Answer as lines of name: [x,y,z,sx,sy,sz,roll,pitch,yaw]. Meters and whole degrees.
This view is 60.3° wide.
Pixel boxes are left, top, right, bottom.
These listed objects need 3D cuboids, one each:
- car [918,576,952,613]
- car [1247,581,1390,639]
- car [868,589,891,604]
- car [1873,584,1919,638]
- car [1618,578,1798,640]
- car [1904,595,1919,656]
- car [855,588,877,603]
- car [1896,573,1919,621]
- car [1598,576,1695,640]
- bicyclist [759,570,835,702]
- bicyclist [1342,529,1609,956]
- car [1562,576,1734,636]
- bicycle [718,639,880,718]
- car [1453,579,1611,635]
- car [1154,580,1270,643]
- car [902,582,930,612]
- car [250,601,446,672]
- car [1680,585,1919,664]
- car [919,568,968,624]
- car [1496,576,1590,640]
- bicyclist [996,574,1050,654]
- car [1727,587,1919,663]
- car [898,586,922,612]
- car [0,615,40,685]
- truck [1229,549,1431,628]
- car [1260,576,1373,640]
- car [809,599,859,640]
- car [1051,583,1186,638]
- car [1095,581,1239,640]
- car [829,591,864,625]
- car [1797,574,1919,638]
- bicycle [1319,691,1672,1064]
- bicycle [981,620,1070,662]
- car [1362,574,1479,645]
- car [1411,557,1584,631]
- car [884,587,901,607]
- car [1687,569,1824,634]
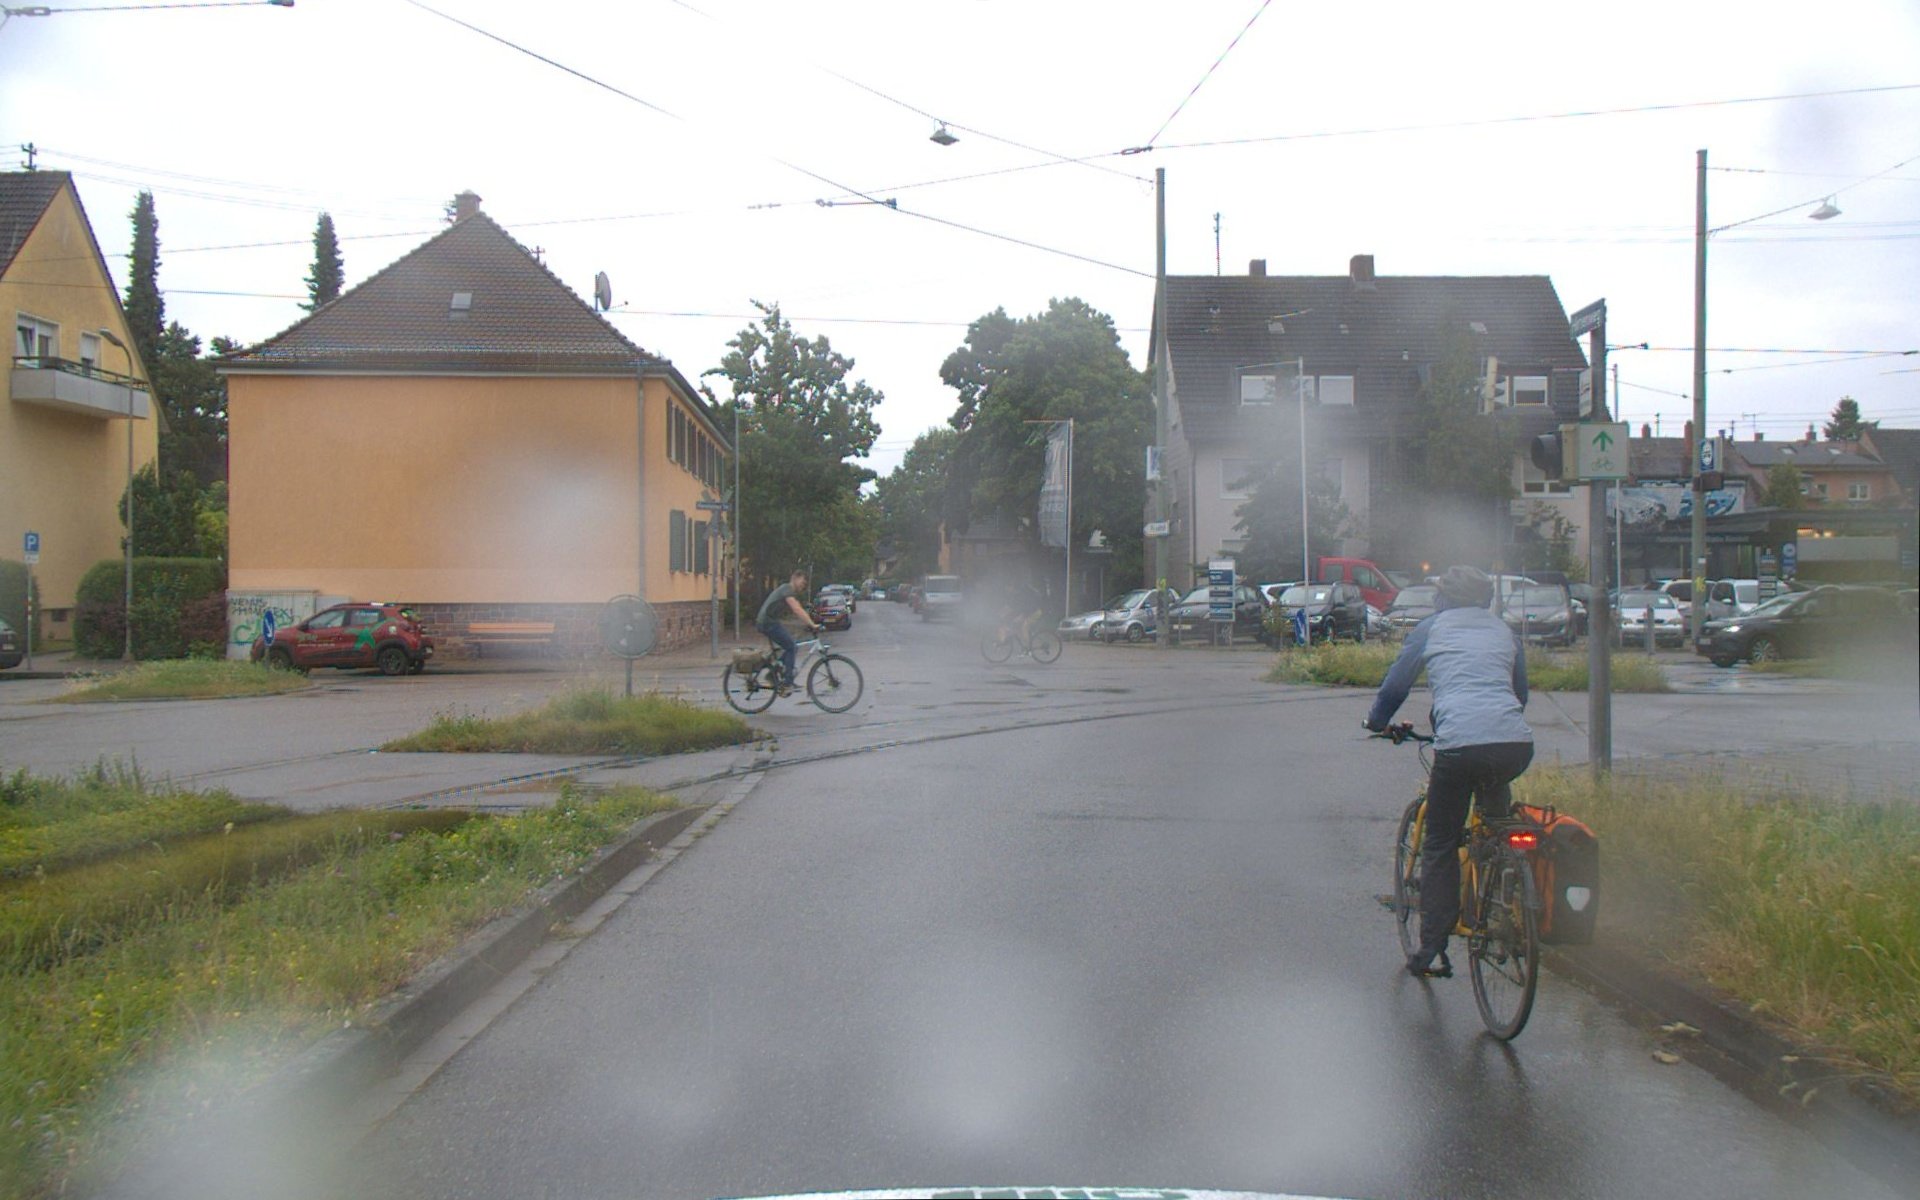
car: [-1.507,-0.332,97.948,1.953,2.049,3.999,2,0,-2]
car: [10.529,0.296,48.508,3.883,1.626,2.001,-1,-1,19]
car: [-9.819,-0.482,200.808,1.800,1.726,4.012,2,0,-18]
car: [26.217,0.322,44.113,1.681,1.420,3.843,2,0,2]
car: [21.412,0.266,47.458,4.341,1.717,1.760,-1,-1,1]
car: [23.551,0.646,36.628,4.285,1.362,1.723,2,0,0]
car: [-11.686,-0.557,206.189,1.800,1.726,4.012,2,0,-18]
car: [34.558,-0.116,56.924,4.373,1.608,1.781,0,-1,-23]
car: [17.770,0.205,42.978,1.789,1.530,4.061,2,0,15]
bicyclist: [-2.000,0.443,20.417,0.893,1.585,0.833,1,-1,-4]
bicyclist: [1.949,0.511,6.364,0.735,1.511,0.846,-2,0,1]
car: [20.693,0.191,49.849,4.341,1.717,2.000,-1,-1,1]
bicycle: [-1.965,0.959,20.398,1.940,0.928,0.823,1,-1,-4]
car: [18.157,0.227,52.646,4.341,1.717,2.000,-1,-1,1]
car: [6.880,0.291,44.938,1.769,1.606,3.863,-1,0,31]
car: [-3.100,-0.221,116.787,1.792,2.049,3.997,2,0,-4]
car: [-12.994,0.769,35.267,3.534,1.362,1.721,2,0,-4]
car: [16.972,0.474,33.519,3.907,1.502,1.999,-1,0,-3]
car: [-0.830,-0.195,80.361,2.110,2.617,4.130,2,0,-4]
car: [15.205,0.209,43.001,1.792,1.530,4.054,2,0,27]
bicyclist: [1.300,0.295,34.526,1.018,1.626,0.949,-1,0,-3]
car: [19.109,0.542,36.501,3.559,1.530,1.722,2,0,-2]
car: [-4.164,-0.081,136.777,1.792,2.049,3.997,2,0,-4]
car: [-21.941,1.034,34.476,4.401,1.420,1.966,0,0,-4]
truck: [11.522,-0.331,51.571,5.955,2.312,2.001,-1,-1,19]
car: [9.492,0.181,43.809,1.769,1.606,3.863,-1,0,31]
car: [-5.156,0.786,68.057,1.954,1.646,3.997,0,0,-3]
car: [4.938,0.320,51.622,3.804,1.606,1.796,-1,0,-21]
car: [6.043,0.279,48.333,3.804,1.606,1.796,-1,0,-21]
car: [-6.964,0.475,101.661,1.953,2.049,3.999,2,0,-2]
car: [23.863,0.152,43.787,1.681,1.600,3.618,2,0,2]
bicycle: [1.964,0.961,6.386,0.737,1.091,1.927,-2,0,1]
bicycle: [1.359,0.854,34.529,1.777,0.800,0.942,-1,0,-3]
car: [12.021,0.223,43.021,1.957,1.747,3.991,-1,0,31]
car: [15.463,-0.148,47.777,4.341,2.049,2.000,-1,-1,1]
car: [-7.462,-0.344,182.577,1.792,2.049,3.997,2,0,-4]
car: [20.933,0.037,43.680,1.765,1.606,3.872,-1,0,0]
